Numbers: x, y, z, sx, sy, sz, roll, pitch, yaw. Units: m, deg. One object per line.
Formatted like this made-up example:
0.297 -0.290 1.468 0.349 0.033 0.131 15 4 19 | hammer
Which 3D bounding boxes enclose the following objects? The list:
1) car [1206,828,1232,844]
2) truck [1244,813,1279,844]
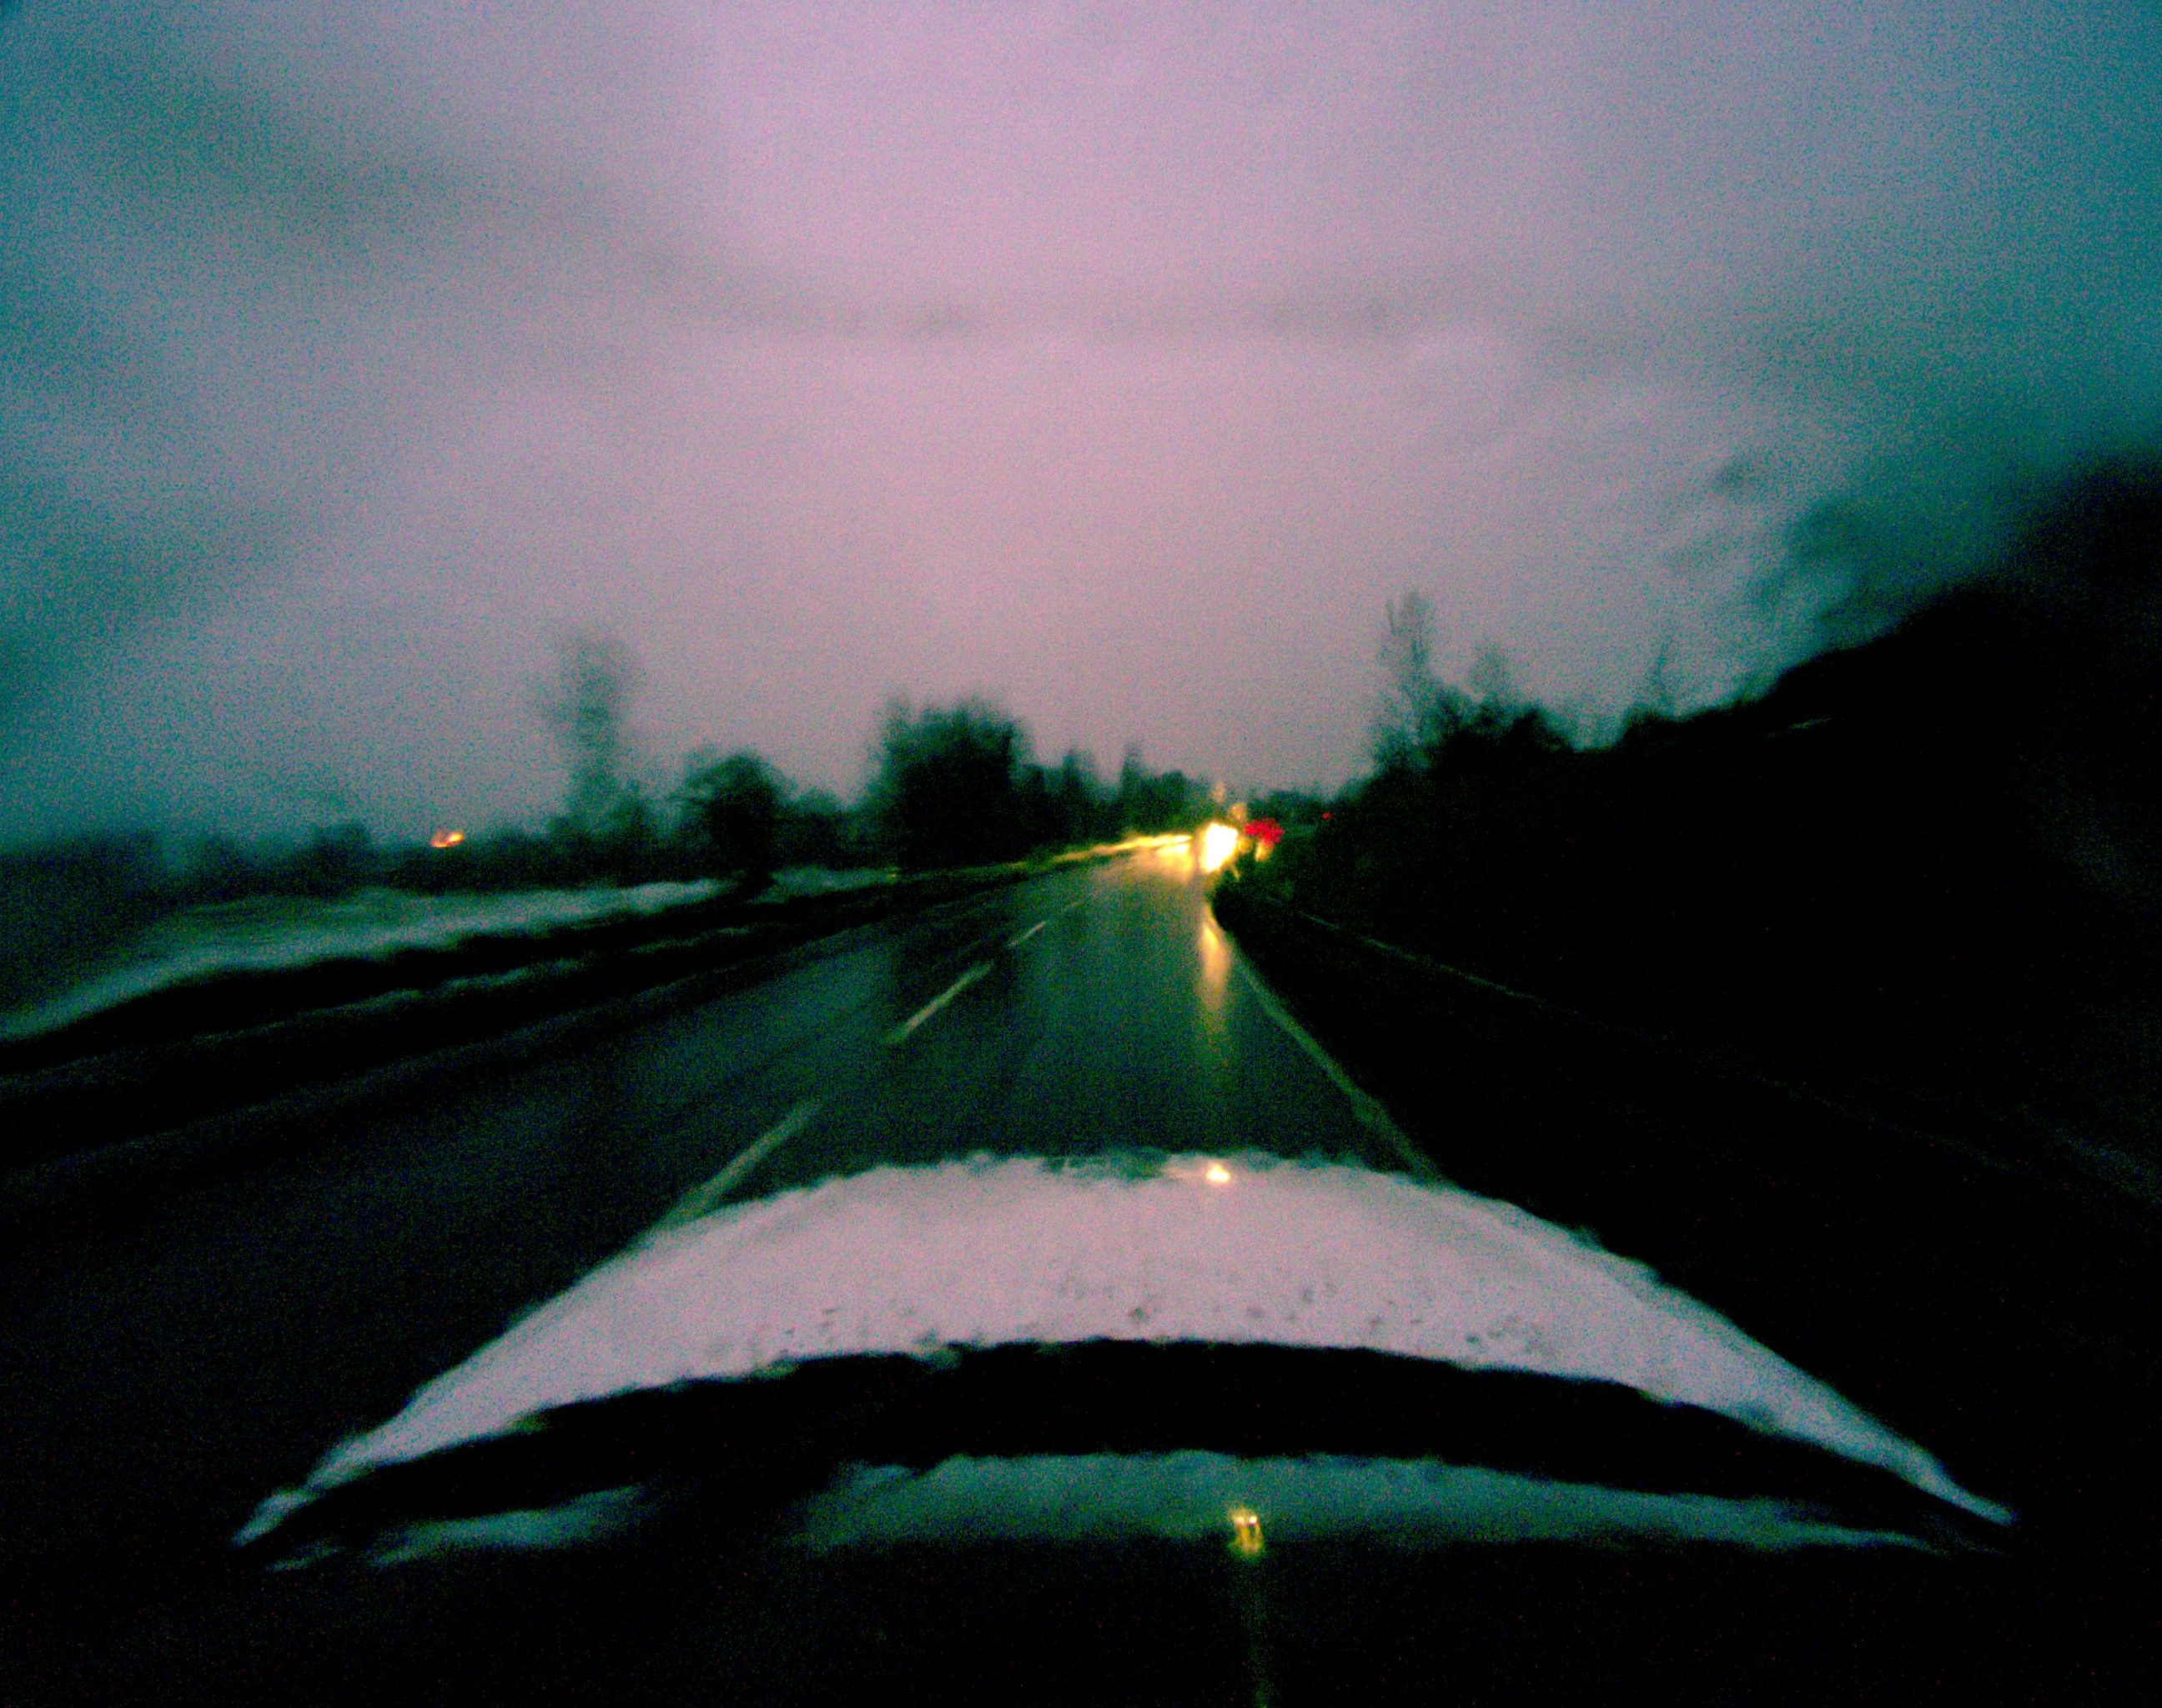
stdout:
14.532 -1.905 85.513 1.978 1.621 4.619 2 2 17 | car
18.302 -2.603 82.471 2.510 2.868 5.954 -3 2 21 | truck
